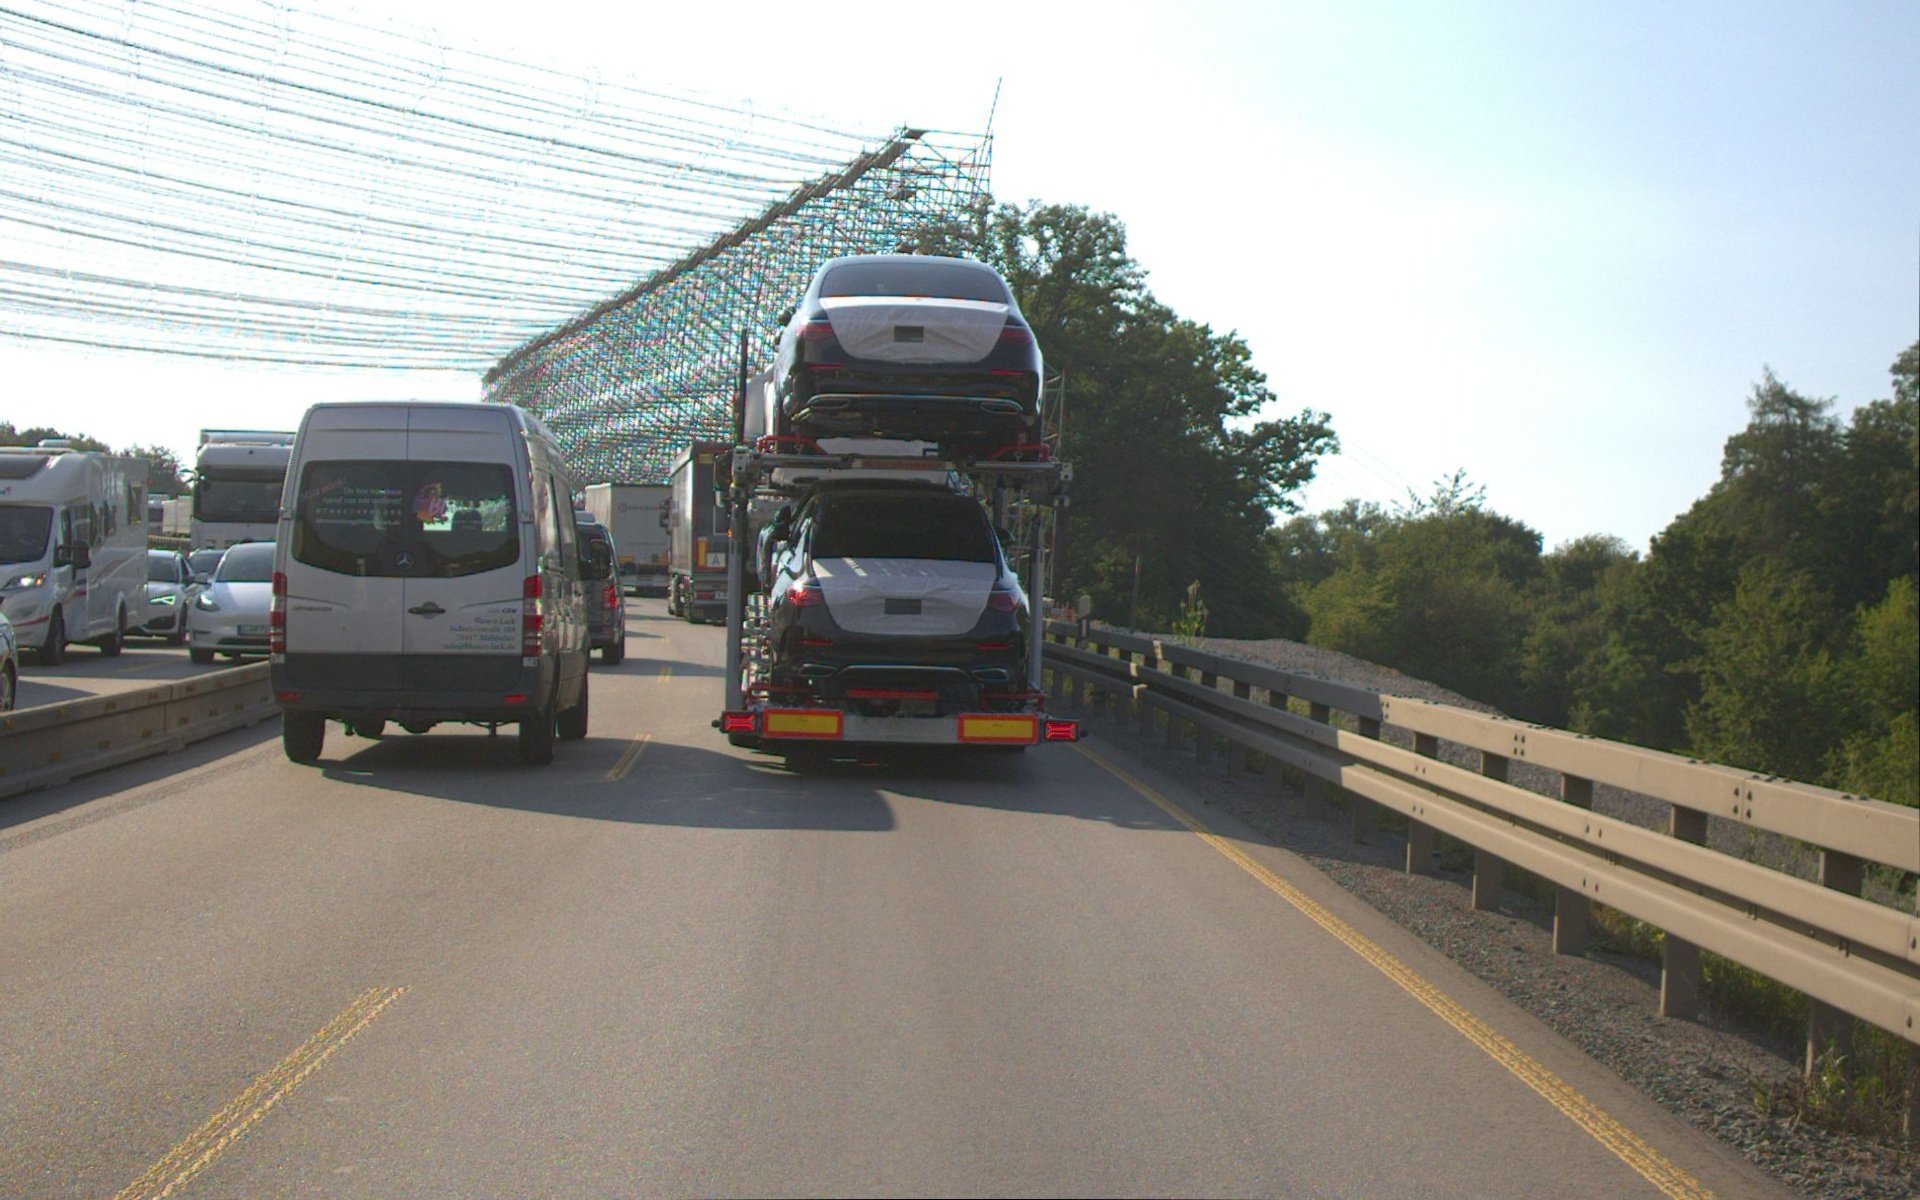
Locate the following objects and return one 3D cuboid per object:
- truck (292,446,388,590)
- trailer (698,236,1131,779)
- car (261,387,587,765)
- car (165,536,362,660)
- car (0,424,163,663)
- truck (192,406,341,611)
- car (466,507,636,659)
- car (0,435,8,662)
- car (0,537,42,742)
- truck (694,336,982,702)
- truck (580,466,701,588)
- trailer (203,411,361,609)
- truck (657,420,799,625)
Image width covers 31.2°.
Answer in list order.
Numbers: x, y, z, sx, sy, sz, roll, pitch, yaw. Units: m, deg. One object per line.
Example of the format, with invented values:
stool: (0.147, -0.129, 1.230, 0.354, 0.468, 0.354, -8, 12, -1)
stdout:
truck: (-19.277, -2.521, 107.097, 2.744, 4.285, 5.935, 1, 1, -9)
trailer: (-0.879, -0.723, 31.390, 2.868, 3.712, 14.950, 1, 1, -5)
car: (-3.950, -0.175, 25.943, 1.956, 2.612, 4.000, 1, 0, -2)
car: (-9.403, -0.069, 46.763, 2.058, 1.481, 4.727, -2, 2, -5)
car: (-12.427, -0.724, 45.656, 2.334, 2.908, 7.633, 1, 0, -3)
truck: (-14.941, -1.937, 74.373, 2.712, 4.203, 5.684, 1, 1, -8)
car: (-5.771, -0.243, 48.955, 1.993, 2.007, 4.000, 2, 0, -2)
car: (-11.897, -0.586, 37.079, 1.956, 2.612, 5.749, 1, 0, -3)
car: (-7.878, 0.278, 24.395, 1.654, 1.518, 4.287, 2, 1, -2)
truck: (-1.509, -0.871, 39.010, 2.881, 3.690, 7.326, 1, 1, -4)
truck: (-12.029, -2.764, 128.329, 3.686, 4.206, 13.672, -2, 2, -8)
trailer: (-15.850, -2.030, 81.158, 2.720, 4.203, 13.752, 1, 1, -8)
truck: (-5.570, -1.813, 80.782, 2.731, 4.370, 11.524, 2, 1, -6)
